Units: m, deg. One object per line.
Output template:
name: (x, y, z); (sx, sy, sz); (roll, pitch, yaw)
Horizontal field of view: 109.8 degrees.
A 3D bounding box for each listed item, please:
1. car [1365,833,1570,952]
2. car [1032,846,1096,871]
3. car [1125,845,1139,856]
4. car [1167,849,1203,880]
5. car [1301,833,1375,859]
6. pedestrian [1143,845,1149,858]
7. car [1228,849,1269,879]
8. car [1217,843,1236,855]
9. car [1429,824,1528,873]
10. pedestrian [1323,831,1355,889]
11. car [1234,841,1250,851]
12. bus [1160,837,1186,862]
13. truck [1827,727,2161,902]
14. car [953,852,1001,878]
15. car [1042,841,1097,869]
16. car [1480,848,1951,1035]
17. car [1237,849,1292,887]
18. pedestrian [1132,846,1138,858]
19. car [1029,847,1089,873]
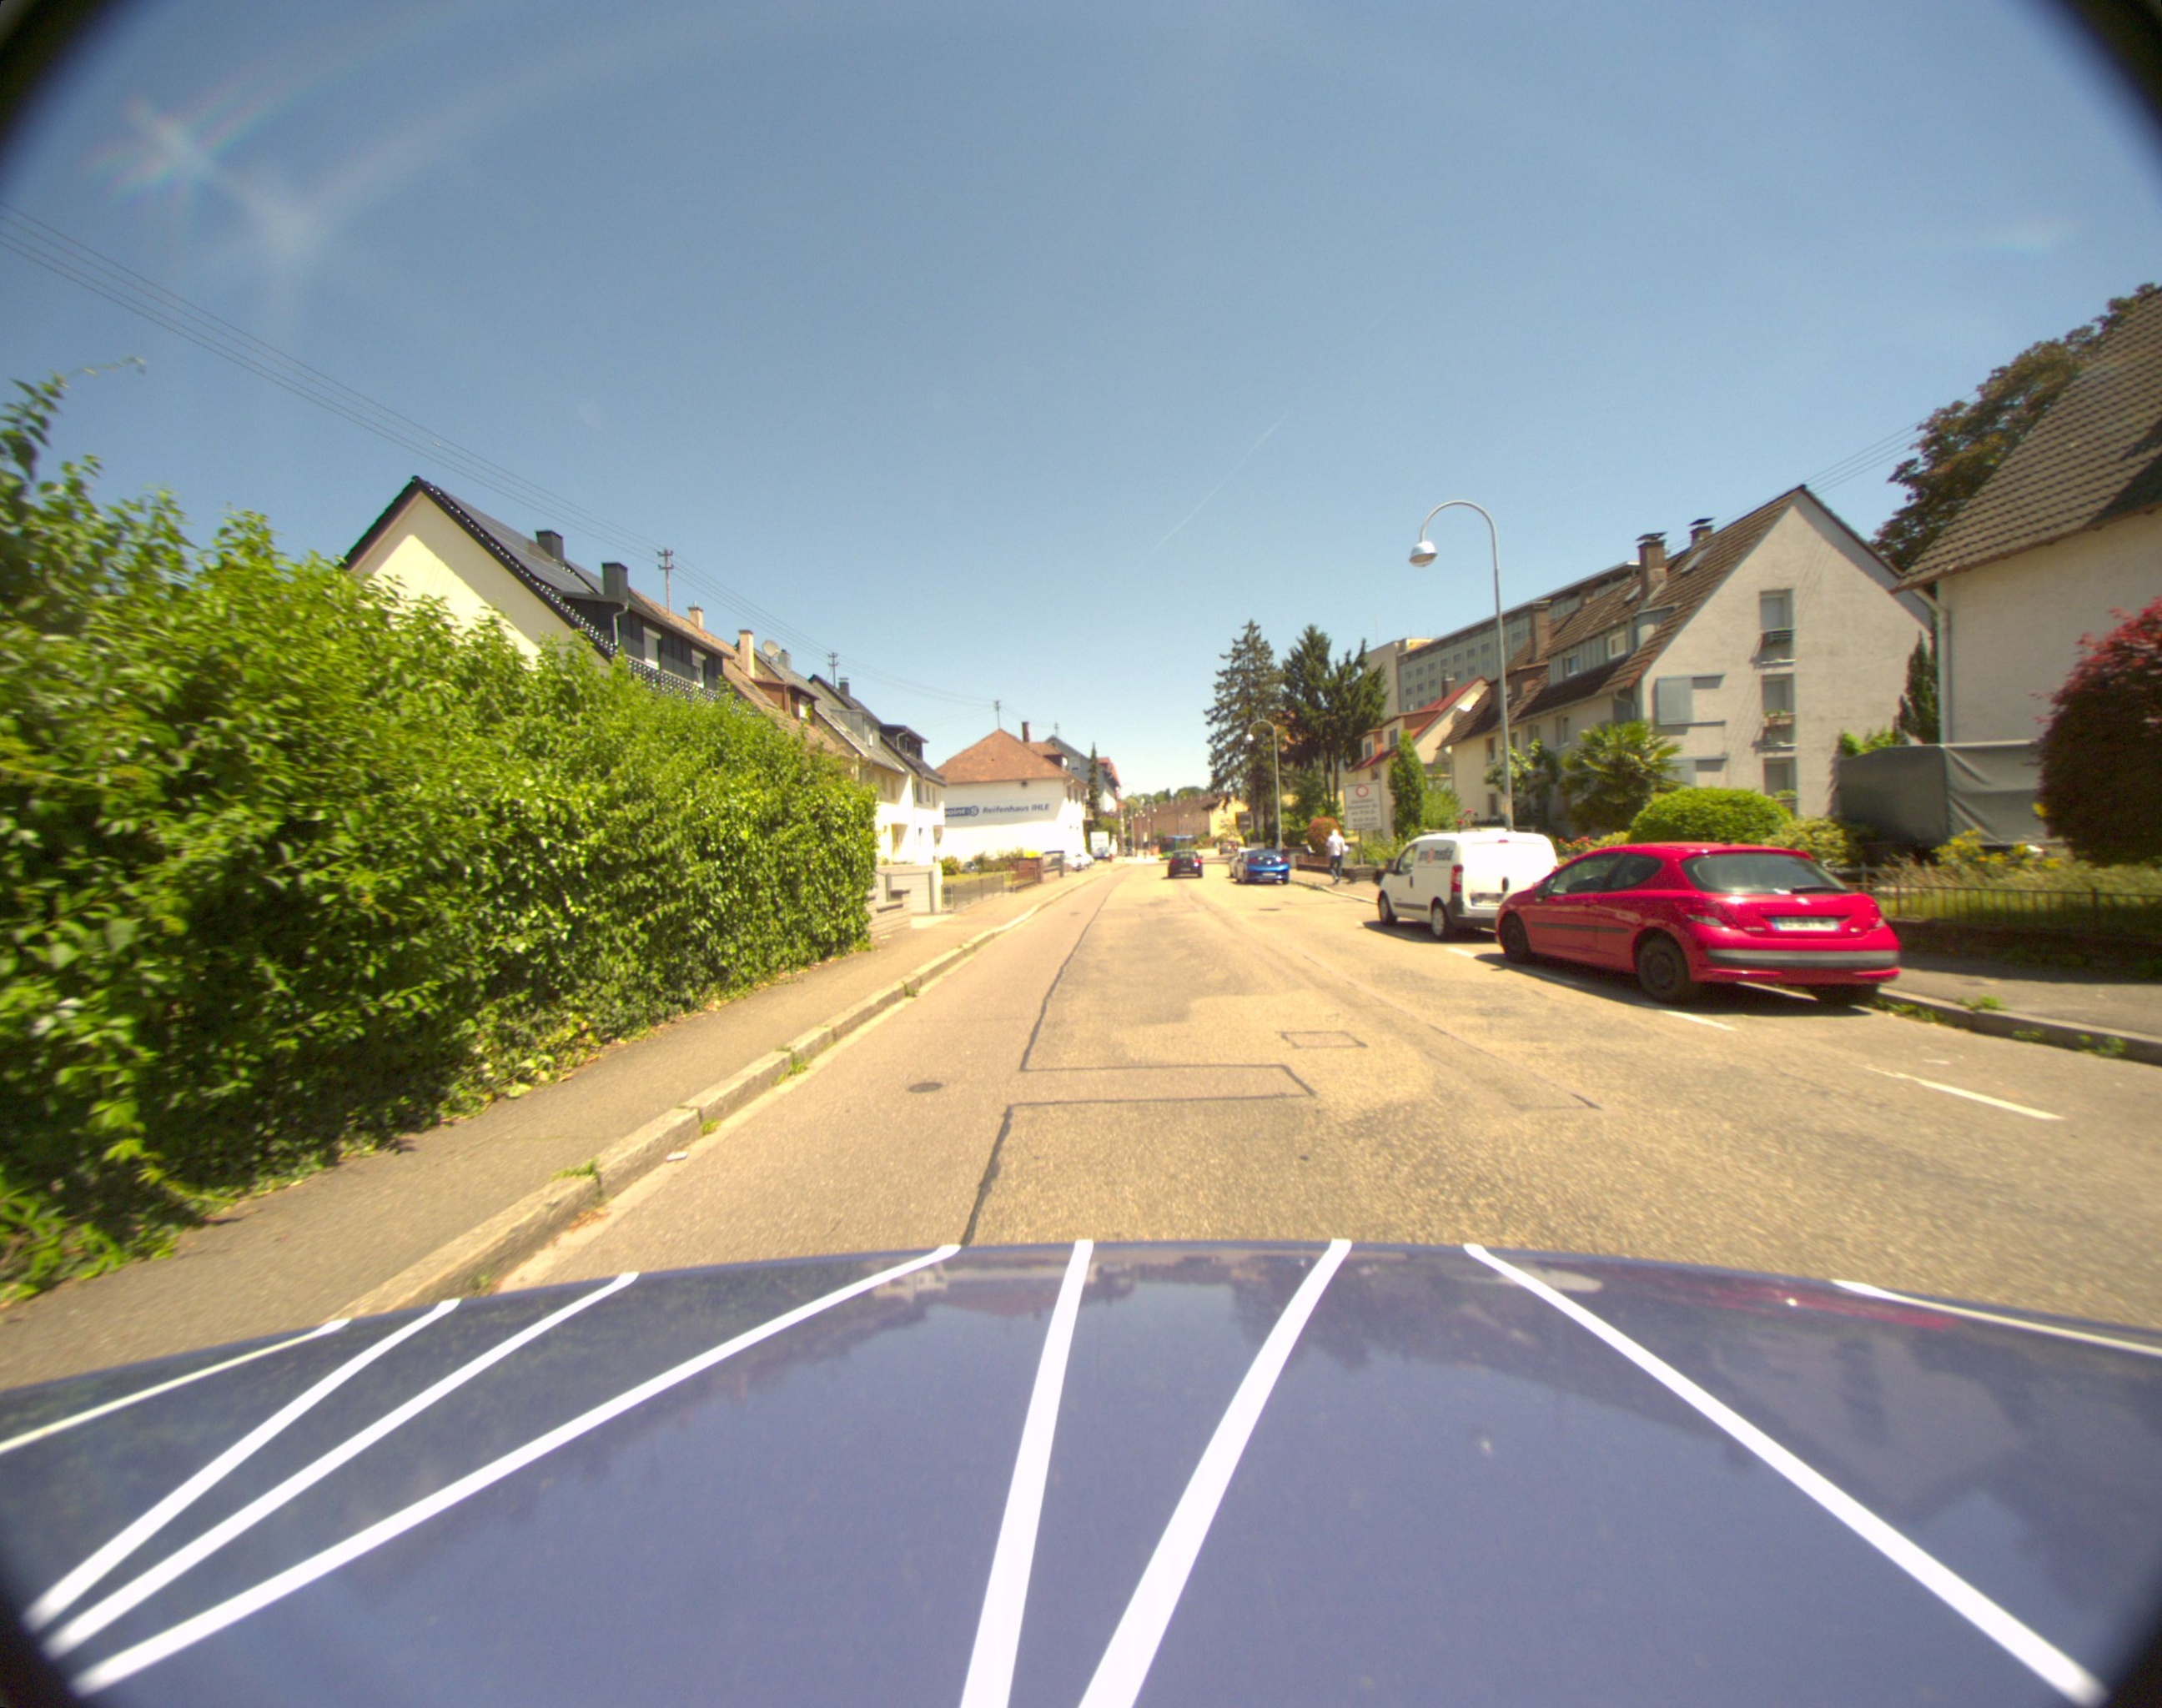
car: (6.378, 0.545, 13.069); (1.727, 1.726, 3.887); (-1, 1, 3)
car: (-1.338, 0.348, 59.905); (4.649, 1.400, 1.770); (-6, 0, 9)
car: (7.599, -0.530, 112.221); (1.761, 1.505, 3.743); (0, 2, 9)
car: (5.387, 0.501, 39.292); (1.735, 1.409, 4.001); (-2, 1, 8)
car: (17.376, -0.533, 51.647); (4.476, 1.433, 1.848); (-4, 1, 11)
pedestrian: (8.751, -0.358, 102.290); (0.750, 1.795, 0.615); (0, 2, -7)
car: (8.385, 0.464, 38.297); (1.582, 1.415, 3.942); (-1, 1, 6)
car: (20.475, -0.740, 106.796); (1.742, 1.496, 4.148); (-1, 1, 21)
car: (14.979, -0.289, 28.907); (1.773, 1.500, 4.361); (-5, 3, 6)
pedestrian: (8.981, 0.193, 26.473); (0.691, 1.879, 1.019); (-8, 1, 9)
car: (24.893, -1.190, 117.426); (1.808, 1.480, 4.393); (-1, 0, 21)
bus: (12.656, -0.734, 103.601); (2.909, 3.063, 12.568); (-3, 1, 9)
truck: (12.733, -0.545, 10.163); (3.777, 1.926, 1.546); (-5, 1, 2)
car: (-7.759, 0.859, 56.384); (1.641, 1.633, 4.294); (-7, 2, -35)
car: (-0.907, 0.085, 62.427); (4.301, 1.820, 1.739); (-6, 0, -1)
car: (6.110, 0.692, 8.083); (1.764, 1.469, 4.058); (-1, 1, 3)
car: (7.670, 0.537, 32.065); (1.772, 1.430, 4.364); (-1, 1, 7)
pedestrian: (7.224, -0.313, 101.302); (0.614, 1.607, 0.751); (0, 2, 24)
car: (-1.661, 0.482, 56.984); (4.294, 1.539, 1.759); (-5, 2, 40)
